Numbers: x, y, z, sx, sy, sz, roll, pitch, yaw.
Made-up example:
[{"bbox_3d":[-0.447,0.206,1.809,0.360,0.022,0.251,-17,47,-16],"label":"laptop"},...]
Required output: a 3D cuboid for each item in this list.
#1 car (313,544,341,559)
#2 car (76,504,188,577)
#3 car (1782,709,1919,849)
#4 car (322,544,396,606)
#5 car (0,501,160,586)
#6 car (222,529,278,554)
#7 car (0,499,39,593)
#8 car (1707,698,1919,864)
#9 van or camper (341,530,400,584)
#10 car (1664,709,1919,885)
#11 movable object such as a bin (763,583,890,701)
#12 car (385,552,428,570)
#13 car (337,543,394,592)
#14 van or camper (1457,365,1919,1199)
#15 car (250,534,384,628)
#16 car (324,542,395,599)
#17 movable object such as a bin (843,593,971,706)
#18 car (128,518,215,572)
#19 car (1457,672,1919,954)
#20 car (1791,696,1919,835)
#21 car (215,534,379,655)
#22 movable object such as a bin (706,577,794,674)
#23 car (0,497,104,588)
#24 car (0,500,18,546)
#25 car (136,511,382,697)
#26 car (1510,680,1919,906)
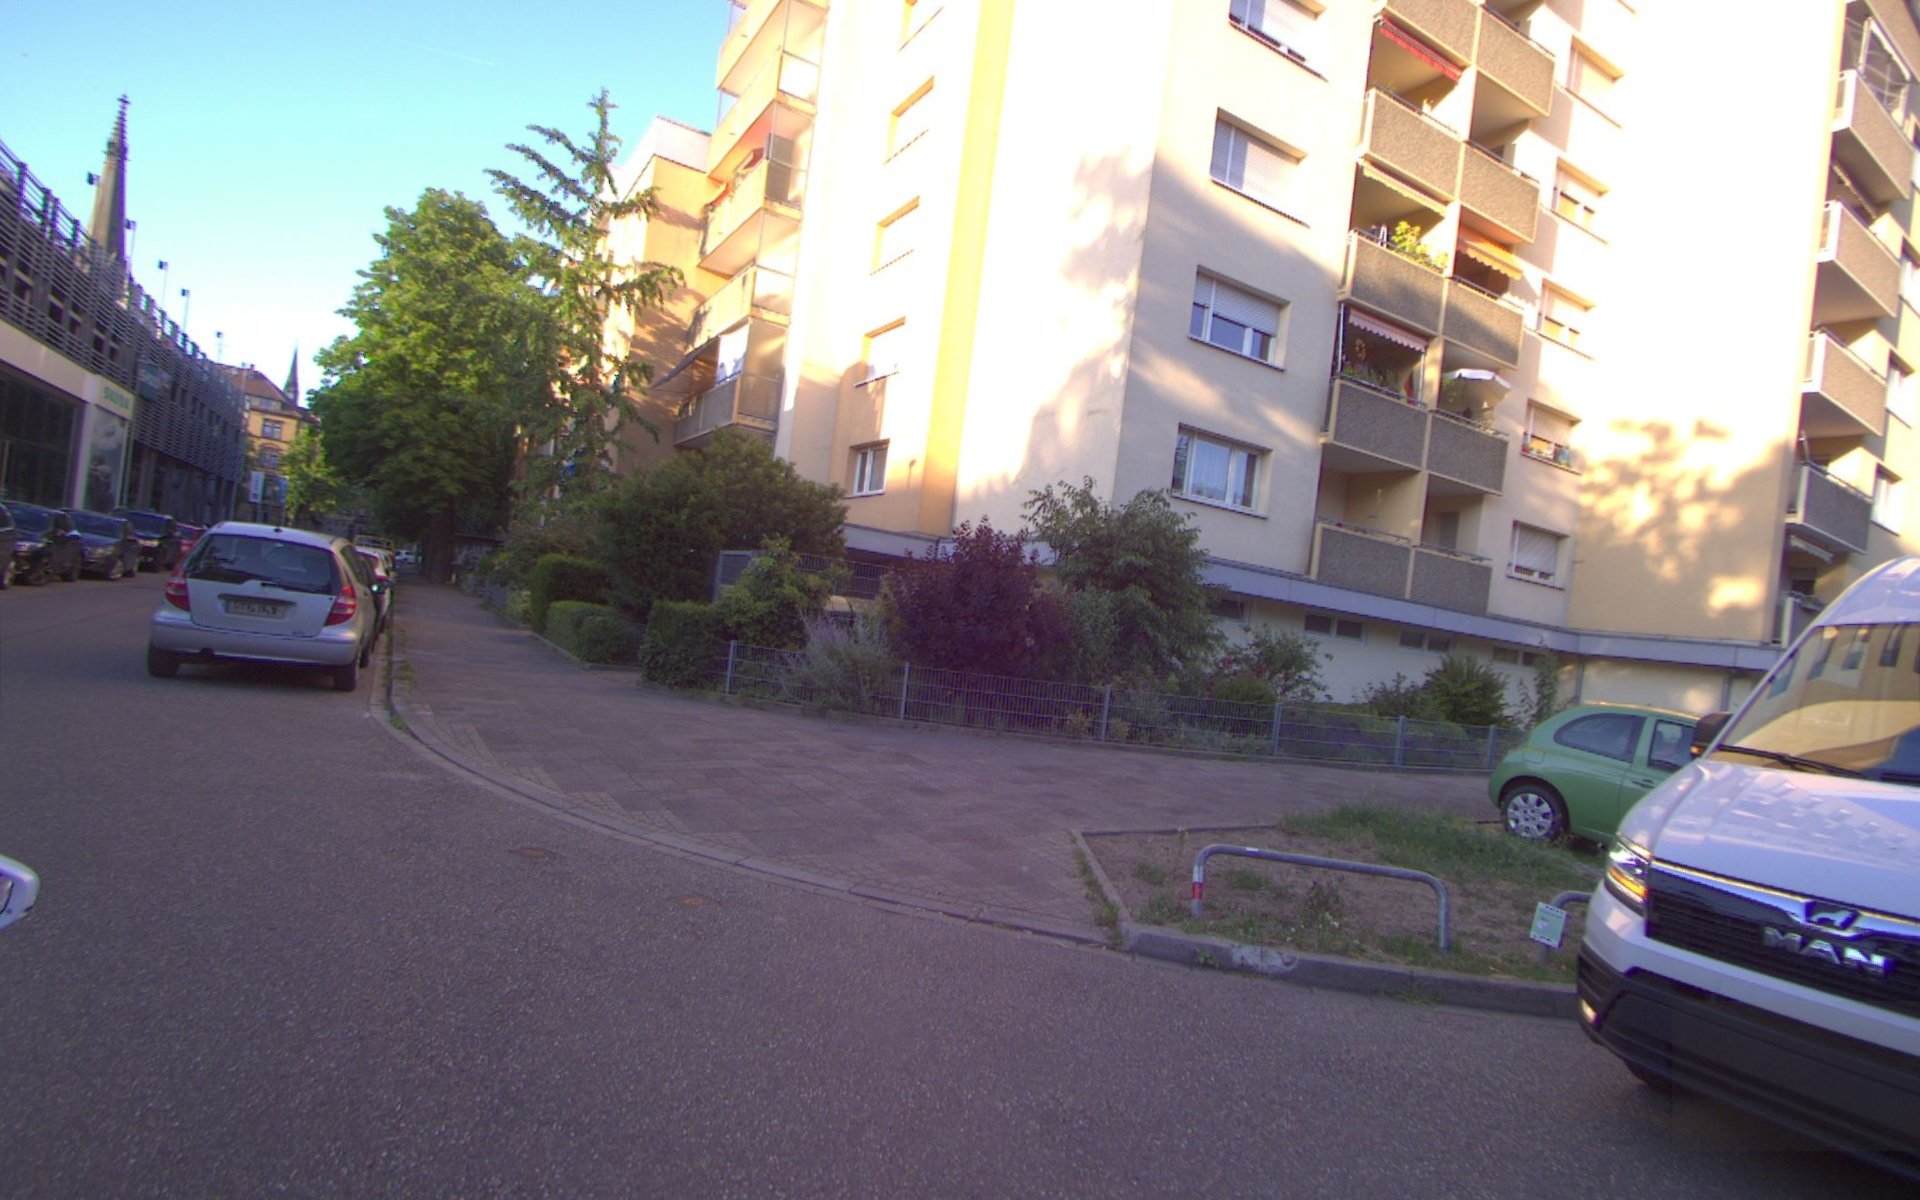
[{"bbox_3d":[-80.891,-6.194,128.560,4.104,1.448,1.655,8,-1,38],"label":"car"},{"bbox_3d":[-24.287,-1.742,29.657,1.684,1.777,4.369,7,-1,-30],"label":"car"},{"bbox_3d":[15.285,2.908,15.135,1.813,1.835,4.070,7,0,-37],"label":"car"},{"bbox_3d":[-17.278,-0.753,29.029,1.597,1.479,4.023,7,-1,-30],"label":"car"},{"bbox_3d":[-20.974,-1.345,24.127,1.921,1.616,4.174,7,0,-28],"label":"car"},{"bbox_3d":[-67.933,-5.603,96.345,4.104,1.636,1.897,10,-1,-32],"label":"car"},{"bbox_3d":[-16.230,-0.998,15.687,1.652,1.512,3.856,13,-4,-29],"label":"car"},{"bbox_3d":[13.180,2.616,13.968,1.813,1.835,4.012,7,0,-37],"label":"car"},{"bbox_3d":[-27.108,-2.023,46.271,2.049,2.121,5.049,7,0,-31],"label":"van or camper"},{"bbox_3d":[11.065,2.417,11.935,1.813,1.571,3.959,7,0,-37],"label":"car"},{"bbox_3d":[-1.971,0.594,14.724,1.116,1.489,1.568,7,0,-34],"label":"movable object such as a bin"},{"bbox_3d":[-61.626,-4.303,111.990,1.846,1.484,3.975,8,-1,14],"label":"car"},{"bbox_3d":[-22.018,-1.239,37.336,1.597,1.529,3.451,7,-1,-30],"label":"car"},{"bbox_3d":[5.588,1.051,4.485,6.785,2.620,2.085,8,-2,-25],"label":"van or camper"},{"bbox_3d":[-12.161,-0.400,19.247,1.796,1.434,3.866,7,-1,-29],"label":"car"},{"bbox_3d":[-19.780,-1.014,33.252,1.778,1.581,4.161,7,-1,-30],"label":"car"},{"bbox_3d":[-0.840,0.744,15.523,1.175,1.489,1.568,7,0,-34],"label":"movable object such as a bin"},{"bbox_3d":[-26.761,-1.868,34.254,1.685,1.524,3.761,7,-1,-30],"label":"car"},{"bbox_3d":[6.857,1.777,9.325,1.612,1.531,3.536,8,1,-34],"label":"car"},{"bbox_3d":[17.413,3.055,16.723,1.980,2.111,5.034,7,0,-32],"label":"car"},{"bbox_3d":[-9.909,-0.141,15.296,1.704,1.436,3.996,7,-1,-30],"label":"car"},{"bbox_3d":[-3.510,0.416,16.734,0.871,1.433,1.288,7,0,-34],"label":"movable object such as a bin"},{"bbox_3d":[-18.517,-1.188,19.758,1.720,1.417,3.974,13,-4,-31],"label":"car"},{"bbox_3d":[-31.694,-2.572,31.919,1.685,1.491,3.752,7,-1,-30],"label":"car"},{"bbox_3d":[-7.642,-0.015,11.340,1.796,1.595,3.854,7,-1,-30],"label":"car"},{"bbox_3d":[8.519,1.967,10.919,1.813,1.571,3.959,7,0,-37],"label":"car"}]
